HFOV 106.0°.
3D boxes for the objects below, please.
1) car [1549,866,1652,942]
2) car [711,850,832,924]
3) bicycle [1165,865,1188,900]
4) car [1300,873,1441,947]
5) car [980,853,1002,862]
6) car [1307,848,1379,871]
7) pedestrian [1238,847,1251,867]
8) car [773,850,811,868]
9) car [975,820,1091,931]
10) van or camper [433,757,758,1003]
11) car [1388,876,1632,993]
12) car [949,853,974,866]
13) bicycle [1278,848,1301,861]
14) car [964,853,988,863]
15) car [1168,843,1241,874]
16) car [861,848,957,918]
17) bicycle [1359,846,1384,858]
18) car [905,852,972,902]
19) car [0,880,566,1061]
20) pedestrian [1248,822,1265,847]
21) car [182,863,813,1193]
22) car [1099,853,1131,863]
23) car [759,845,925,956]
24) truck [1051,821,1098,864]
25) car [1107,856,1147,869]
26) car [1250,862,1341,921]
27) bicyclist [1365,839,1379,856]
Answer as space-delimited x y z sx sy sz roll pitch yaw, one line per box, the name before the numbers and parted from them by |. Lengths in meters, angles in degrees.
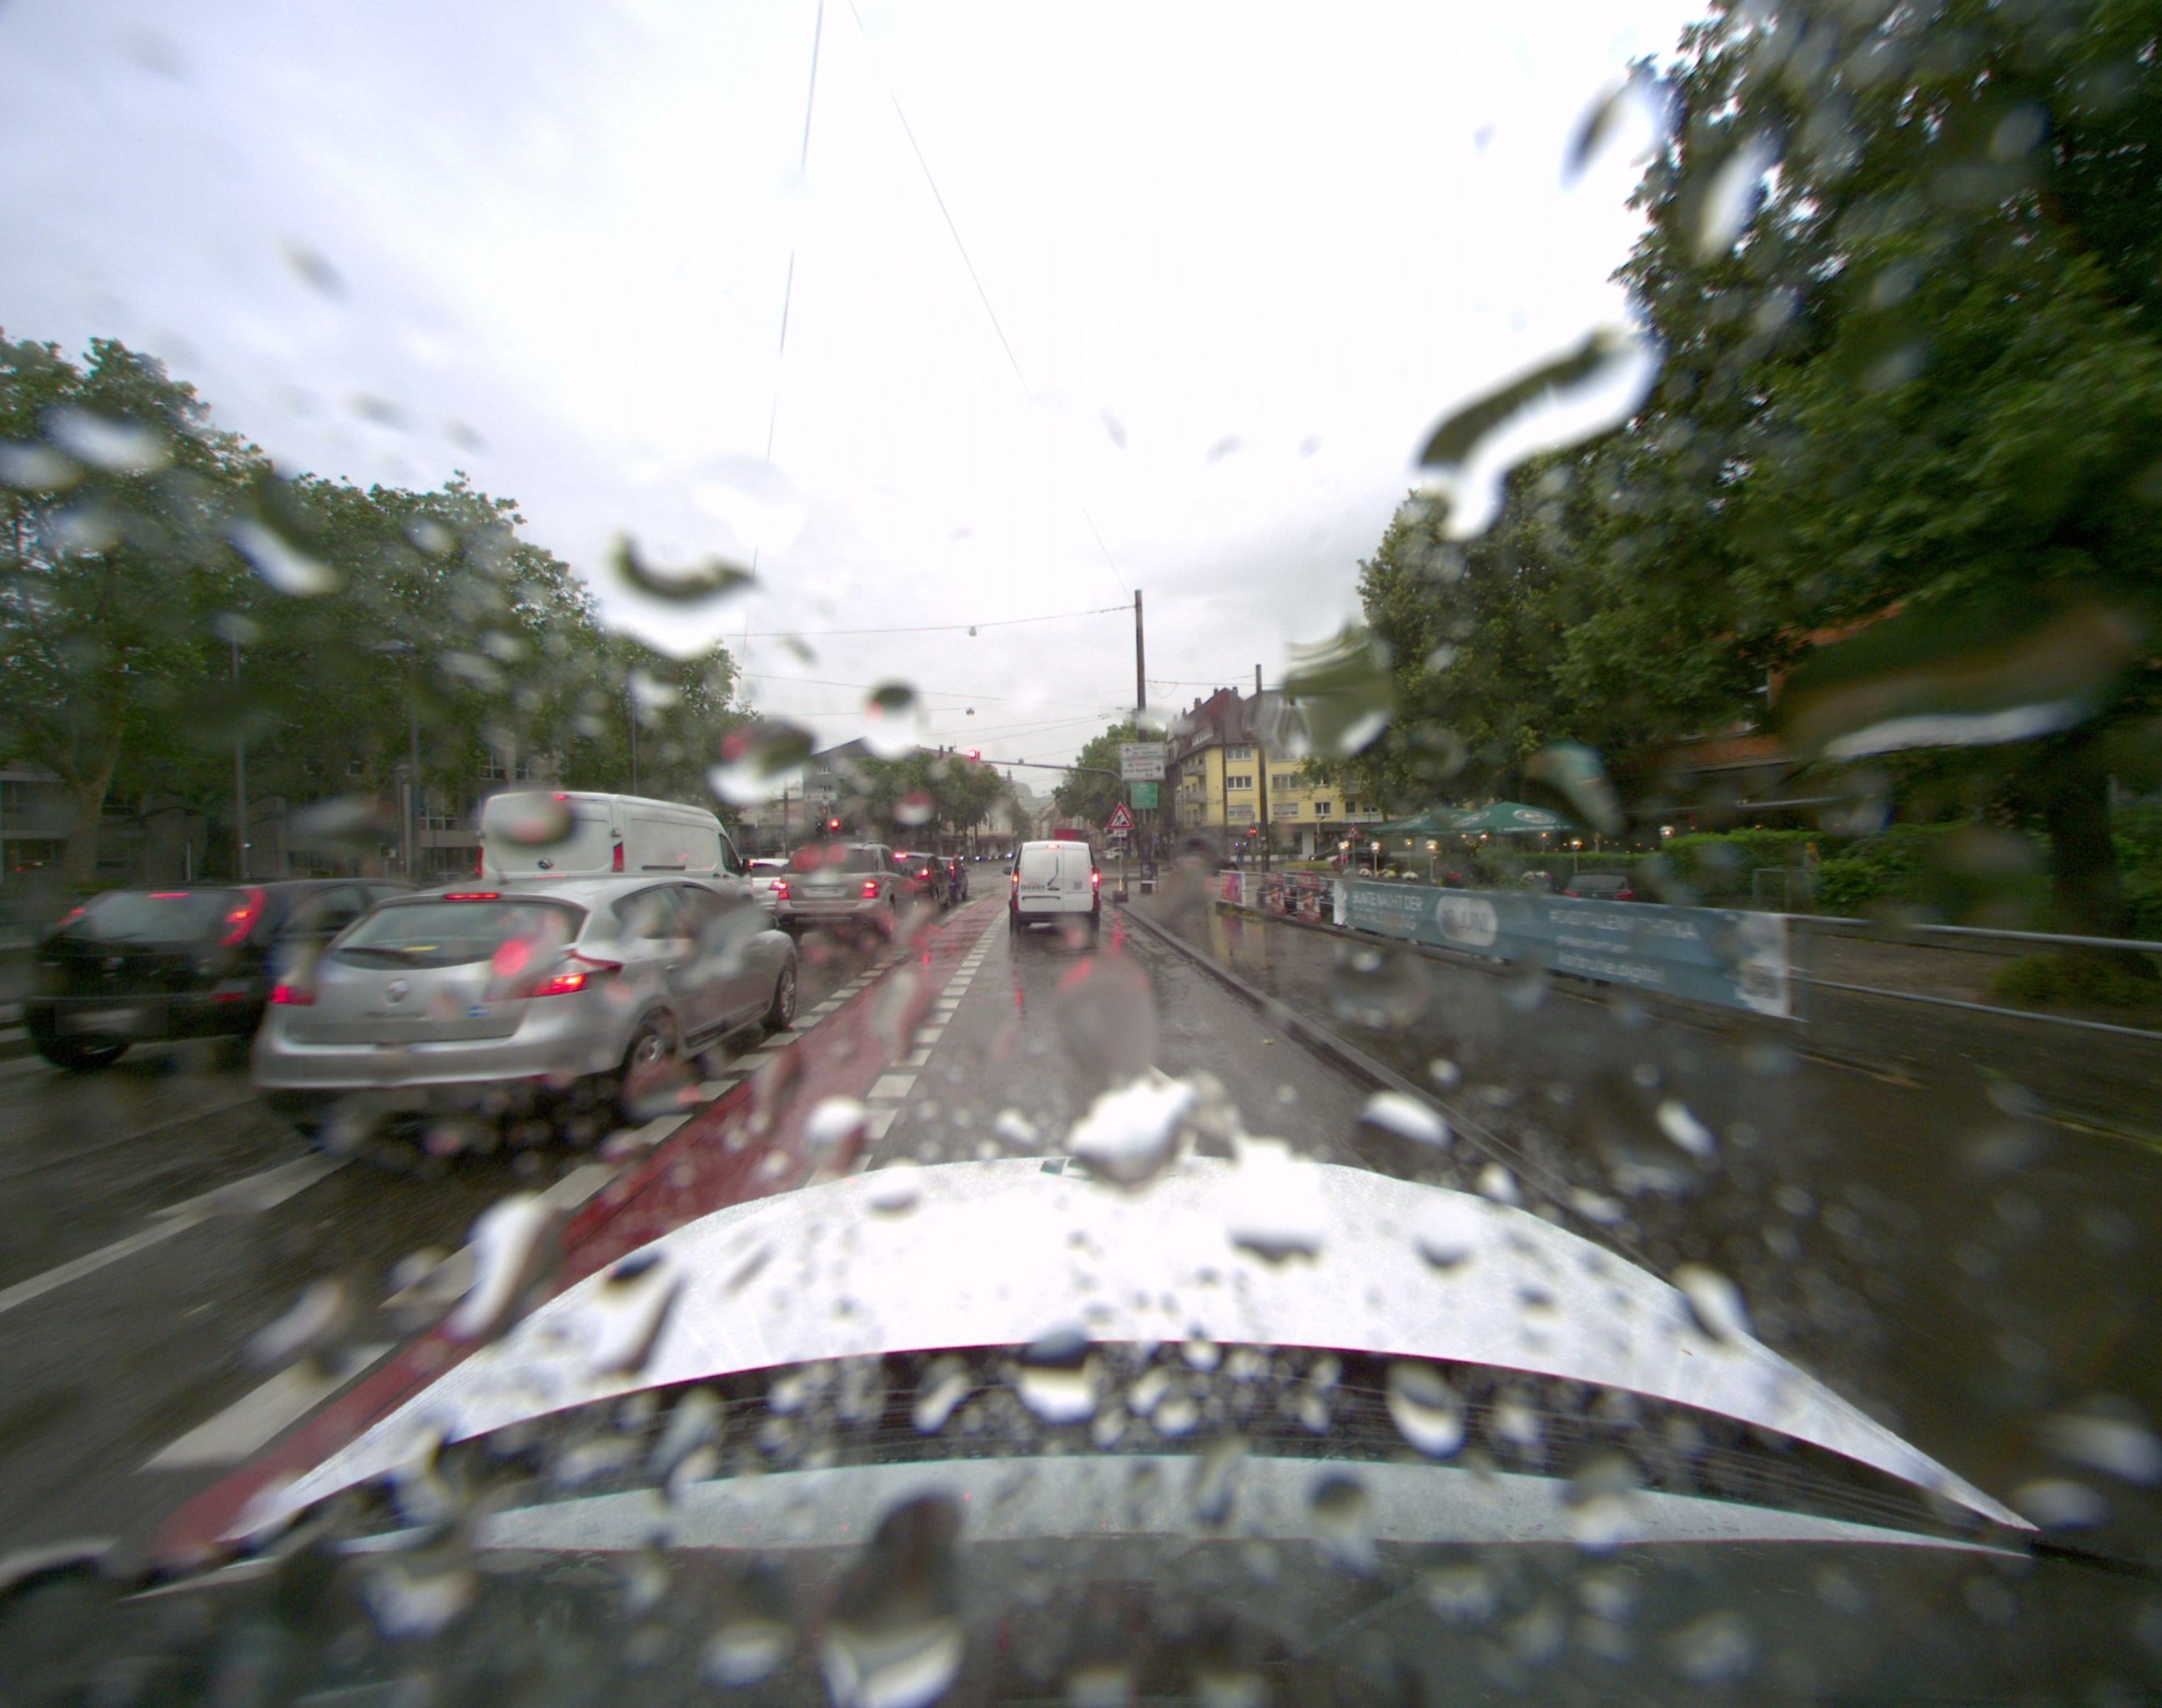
car | 13.499 1.190 21.061 1.974 1.713 4.025 0 0 36
car | -7.587 0.752 20.329 1.641 1.629 3.833 -1 0 -2
bicycle | 3.256 0.948 27.856 0.512 1.107 2.016 2 0 -1
car | 6.450 1.188 18.601 1.698 1.400 3.969 0 0 -2
car | -13.483 0.507 121.912 1.936 1.239 4.016 0 1 15
car | 19.407 0.436 60.529 4.907 1.643 2.005 0 -3 9
pedestrian | 12.917 0.235 64.411 0.821 1.534 0.615 0 -1 -41
car | -37.763 0.626 106.594 1.976 2.198 4.813 1 2 21
car | -0.969 0.405 17.378 2.095 2.012 4.958 -1 0 -2
van or camper | -7.424 0.326 13.447 2.154 3.141 5.843 -1 0 -4
car | 6.846 1.196 13.556 1.729 1.539 4.069 0 0 -4
car | -16.046 0.674 109.395 1.936 1.607 4.016 0 1 15
bicycle | 19.723 0.044 77.057 2.087 1.261 0.534 0 1 12
car | -14.850 0.588 115.260 1.936 1.239 4.016 0 1 15
car | 7.487 0.275 49.543 3.995 1.866 1.989 0 0 -16
car | -4.468 0.700 21.731 1.830 1.668 4.169 0 0 -2
bicycle | 26.431 -0.189 74.079 2.005 1.027 0.661 0 0 10
car | -4.742 0.740 27.595 1.723 1.578 3.817 0 0 -2
car | -6.798 0.863 7.678 1.460 1.117 4.082 0 0 -3
pedestrian | 12.223 -1.359 56.733 0.896 1.669 1.026 0 0 27
car | -3.353 0.820 5.801 1.764 1.477 3.996 0 0 -3
car | 3.811 0.489 92.019 3.442 1.130 1.466 0 0 -10
car | -4.233 0.743 15.227 2.020 1.770 4.457 0 0 -3
truck | -0.623 -1.305 104.559 3.449 5.087 15.345 0 0 9
car | 5.122 0.887 90.230 4.166 1.339 1.516 -1 1 -10
car | 6.234 1.051 24.080 1.700 1.442 3.524 3 1 0
bicyclist | 26.438 -0.576 74.058 1.059 1.547 0.939 0 0 9
